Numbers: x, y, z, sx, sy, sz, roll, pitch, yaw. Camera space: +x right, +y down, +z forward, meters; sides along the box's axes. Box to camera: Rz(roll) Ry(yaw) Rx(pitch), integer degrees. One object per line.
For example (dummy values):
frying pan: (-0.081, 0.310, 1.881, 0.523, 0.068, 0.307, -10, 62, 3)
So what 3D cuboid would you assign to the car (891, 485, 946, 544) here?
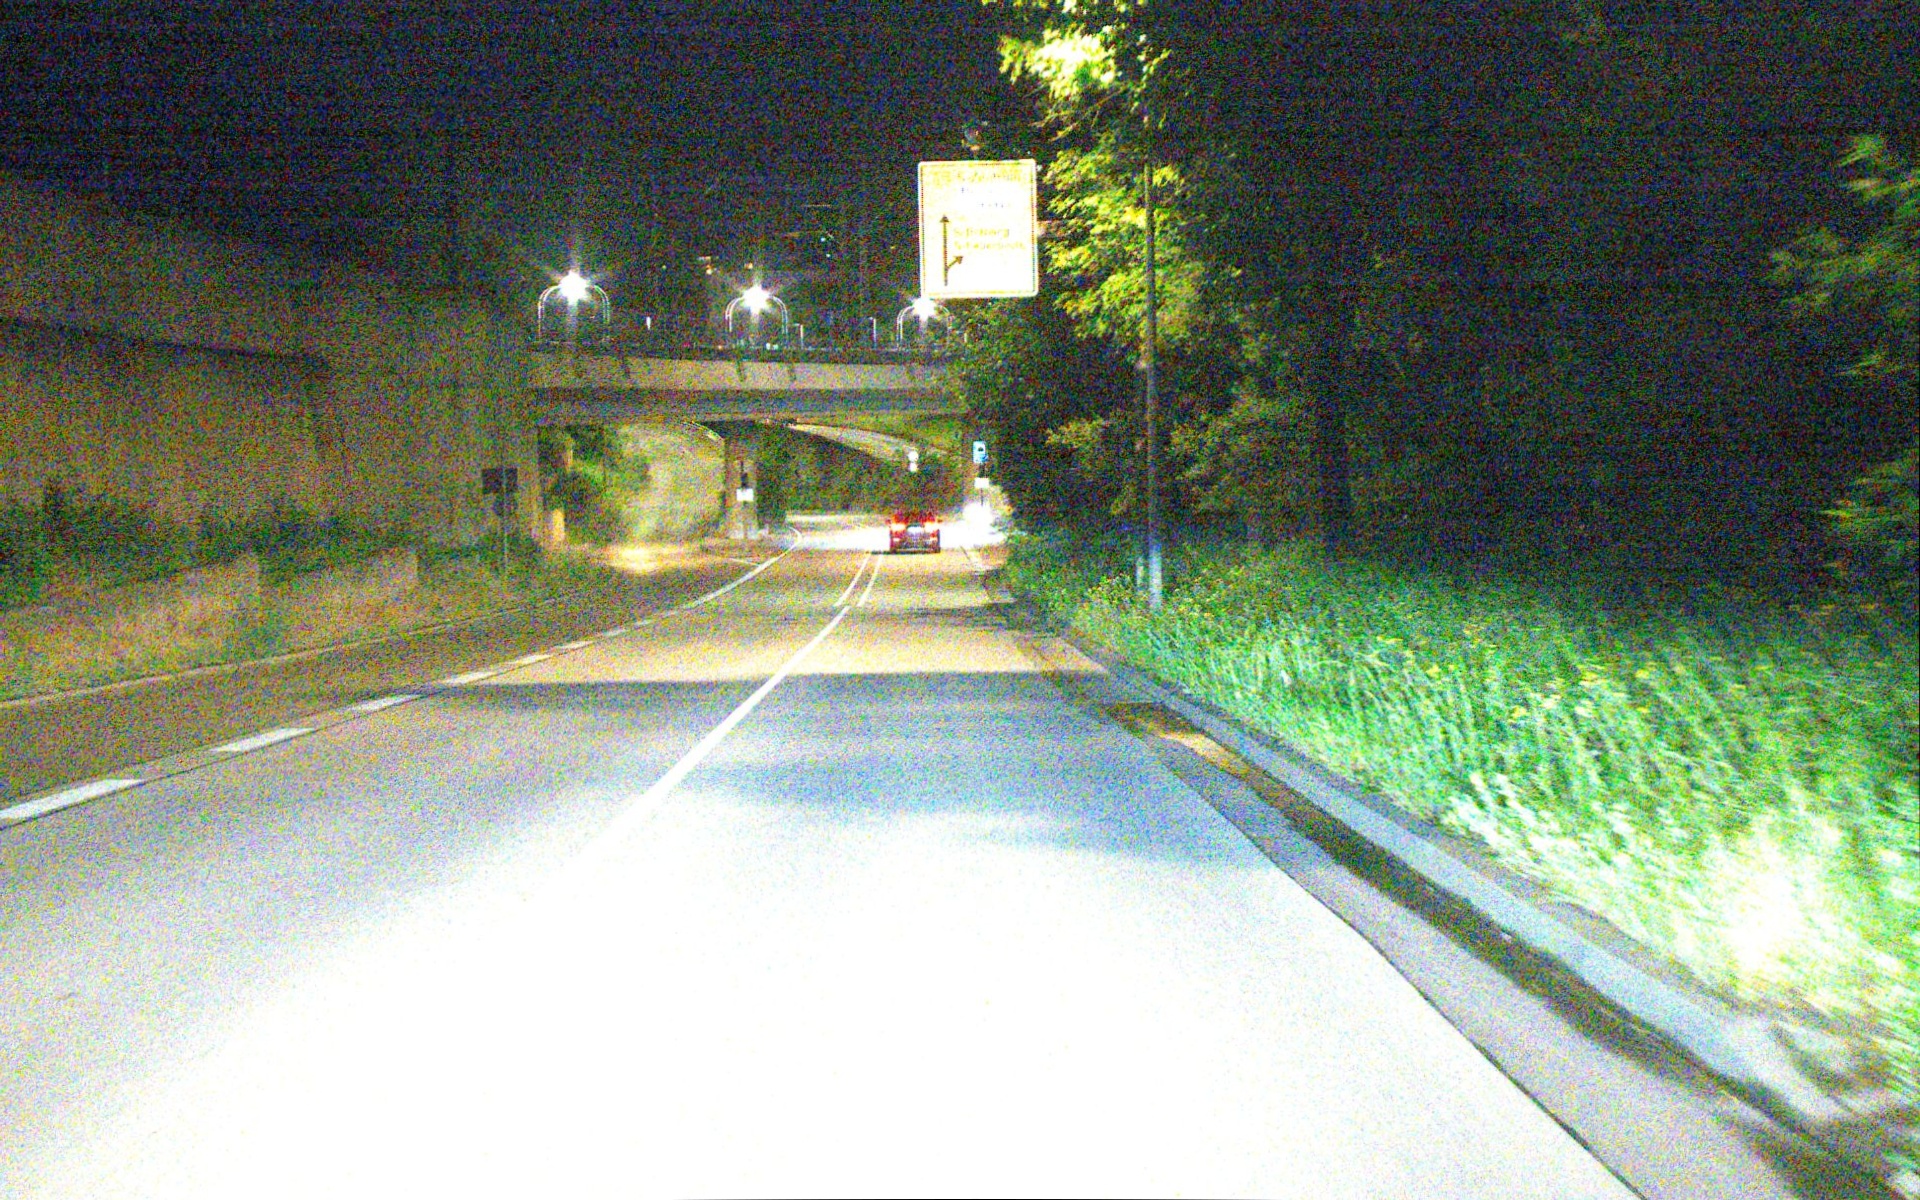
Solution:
car: (-1.487, -3.063, 123.533, 1.918, 2.007, 4.123, 1, 1, -1)
